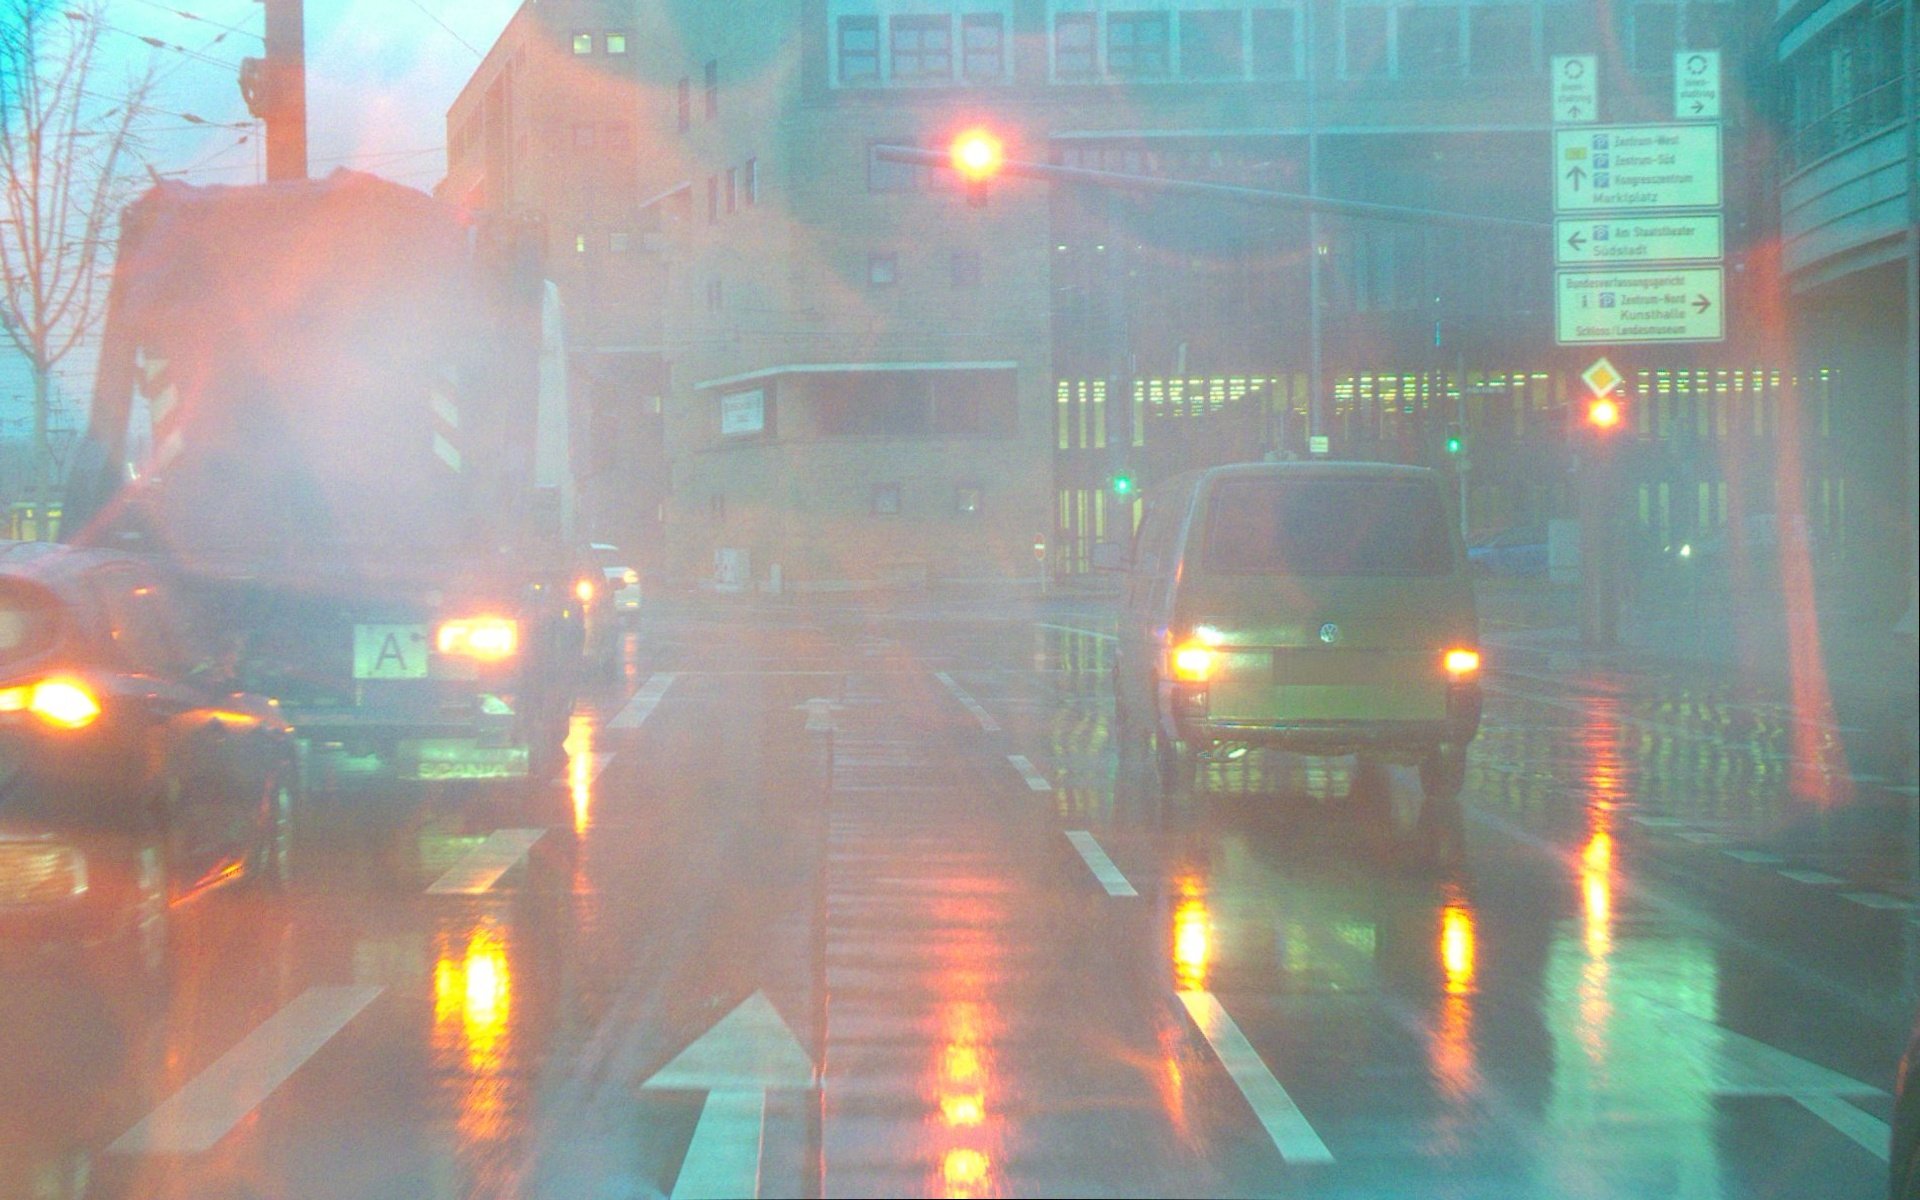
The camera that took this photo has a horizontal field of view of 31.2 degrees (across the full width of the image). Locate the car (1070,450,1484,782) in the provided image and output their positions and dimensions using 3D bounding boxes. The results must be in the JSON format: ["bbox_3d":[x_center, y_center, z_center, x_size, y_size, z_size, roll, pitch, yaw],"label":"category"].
[{"bbox_3d":[1.815,0.041,21.084,1.843,1.800,4.487,-1,1,-4],"label":"car"}]

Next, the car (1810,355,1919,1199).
[{"bbox_3d":[2.285,0.546,3.605,1.674,1.773,4.000,-1,1,-2],"label":"car"}]

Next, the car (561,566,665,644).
[{"bbox_3d":[-6.163,0.068,61.308,1.511,1.301,3.041,-1,1,1],"label":"car"}]

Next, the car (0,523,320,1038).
[{"bbox_3d":[-3.327,0.495,11.995,1.704,1.503,4.001,0,1,-4],"label":"car"}]

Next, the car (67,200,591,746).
[{"bbox_3d":[-3.611,-0.709,21.033,2.355,2.817,6.360,-1,1,-3],"label":"car"}]

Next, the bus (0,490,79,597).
[{"bbox_3d":[-30.464,-1.845,112.896,2.822,3.361,8.003,-1,1,-13],"label":"bus"}]
